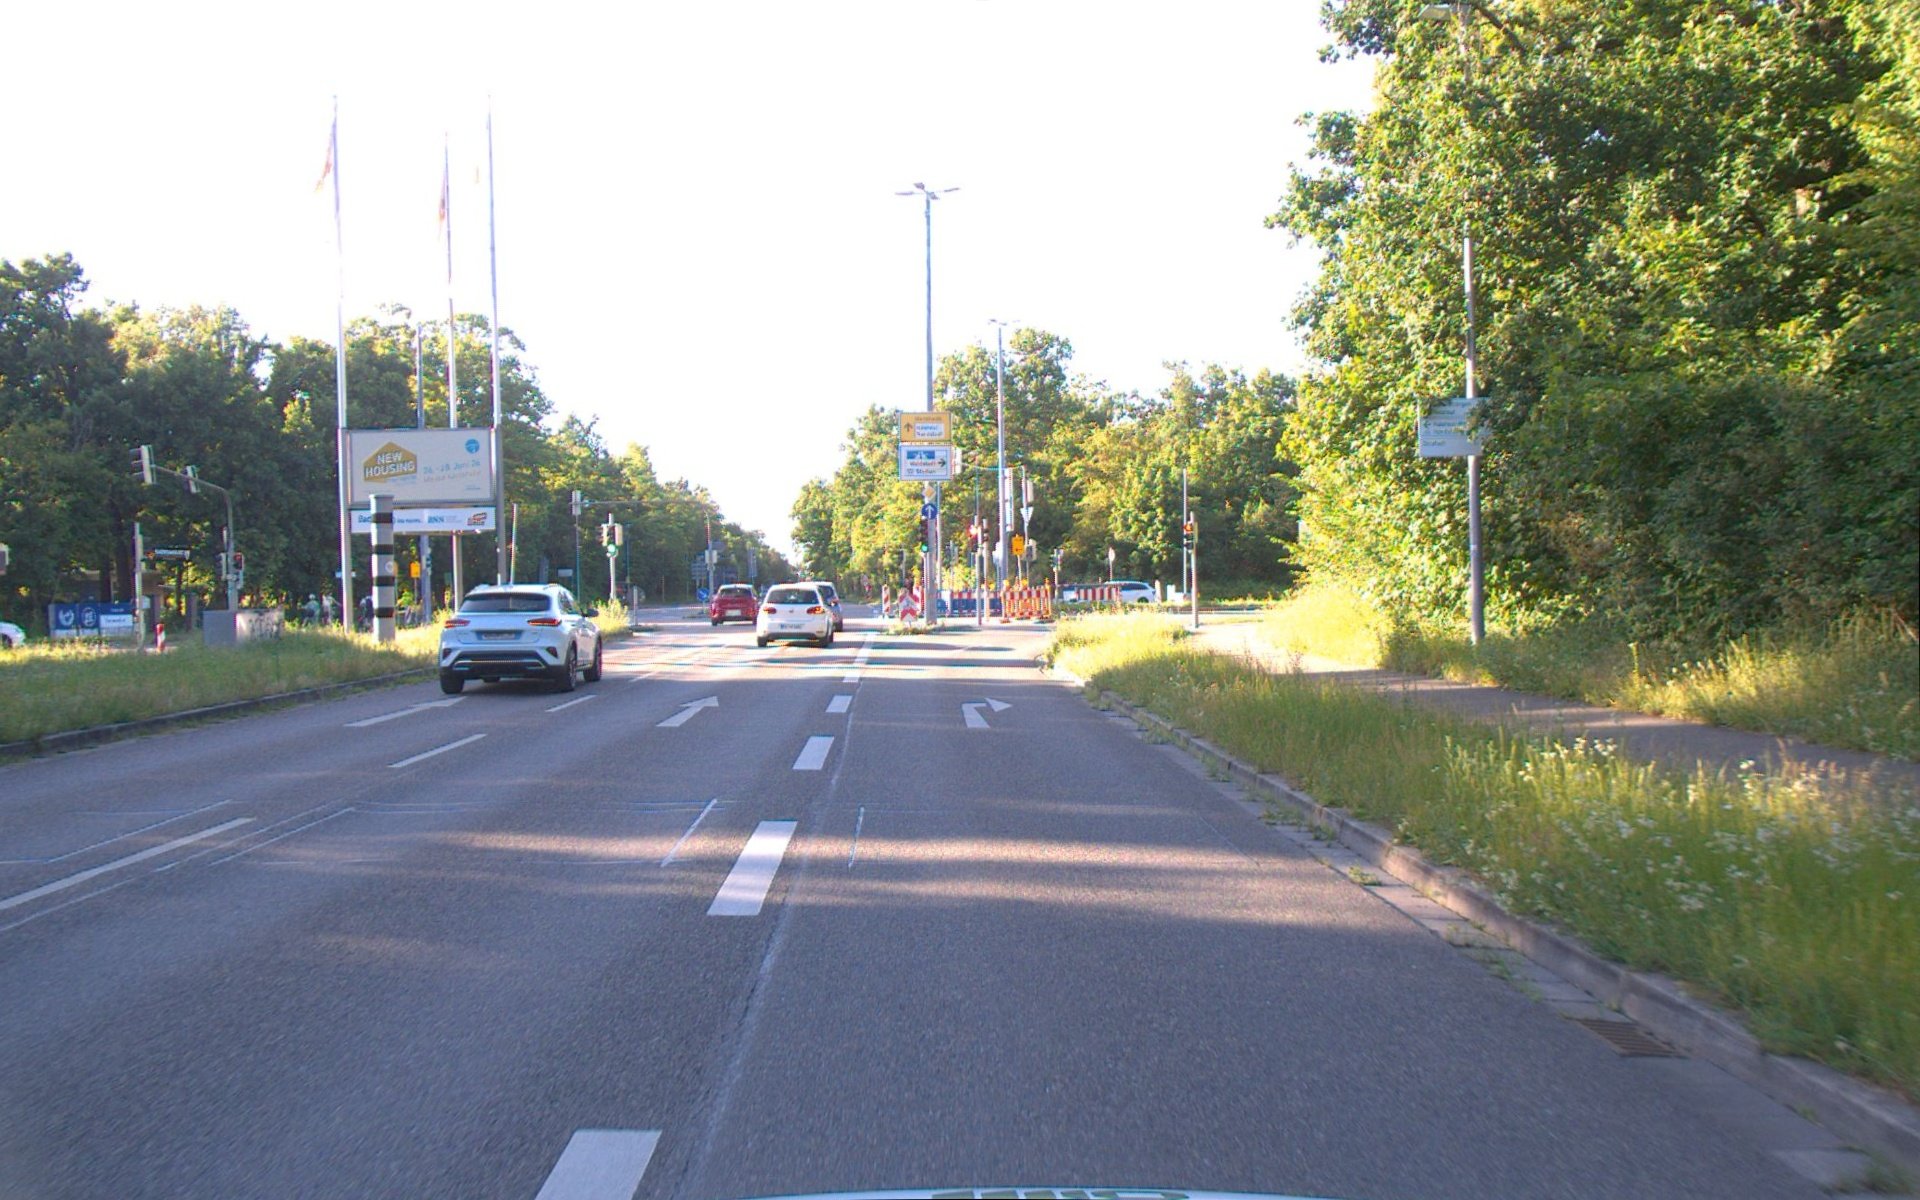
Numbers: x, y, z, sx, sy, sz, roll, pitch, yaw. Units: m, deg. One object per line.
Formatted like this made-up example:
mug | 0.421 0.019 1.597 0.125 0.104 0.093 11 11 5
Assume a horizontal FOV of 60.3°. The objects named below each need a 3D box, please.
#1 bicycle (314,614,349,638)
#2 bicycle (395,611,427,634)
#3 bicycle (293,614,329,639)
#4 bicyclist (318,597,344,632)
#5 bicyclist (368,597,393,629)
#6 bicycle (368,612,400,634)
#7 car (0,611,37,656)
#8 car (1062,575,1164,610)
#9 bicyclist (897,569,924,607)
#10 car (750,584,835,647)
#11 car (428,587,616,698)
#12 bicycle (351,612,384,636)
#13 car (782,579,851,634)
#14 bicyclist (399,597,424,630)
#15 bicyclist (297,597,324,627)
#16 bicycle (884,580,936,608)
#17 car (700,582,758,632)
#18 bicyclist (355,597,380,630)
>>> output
bicycle | -26.535 1.100 69.881 0.700 0.930 1.911 -1 0 1
bicycle | -23.500 0.969 70.794 0.700 0.930 1.911 -1 0 1
bicycle | -27.428 1.115 69.914 0.700 0.930 1.911 -1 1 1
bicyclist | -26.551 0.610 69.844 0.696 1.414 0.990 -1 0 1
bicyclist | -25.379 0.555 72.409 0.700 1.365 0.990 -1 0 1
bicycle | -25.363 0.998 72.870 0.700 0.930 1.911 -1 0 1
car | -31.963 1.108 53.326 3.745 1.413 1.910 -2 0 -29
car | 7.647 -0.376 82.545 4.755 1.608 1.985 -2 0 -25
bicyclist | -2.557 -0.631 85.443 1.004 1.963 0.957 0 0 -35
car | -4.115 0.344 41.148 1.902 1.439 3.997 -2 0 -4
car | -6.270 0.558 24.119 1.826 1.469 3.998 -1 0 -3
bicycle | -25.344 1.022 70.778 0.700 0.930 1.911 -1 0 1
car | -4.432 0.191 50.630 1.955 1.563 3.994 -2 0 -7
bicyclist | -23.506 0.568 70.851 0.700 1.362 0.990 -1 0 1
bicyclist | -27.444 0.512 69.912 0.700 1.213 0.990 -1 0 1
bicycle | -2.597 -0.330 85.406 2.609 1.407 0.957 -1 1 -35
car | -8.368 0.227 60.234 1.955 1.714 3.994 -2 0 -7
bicyclist | -25.352 0.580 70.772 0.700 1.379 0.990 -1 0 1
